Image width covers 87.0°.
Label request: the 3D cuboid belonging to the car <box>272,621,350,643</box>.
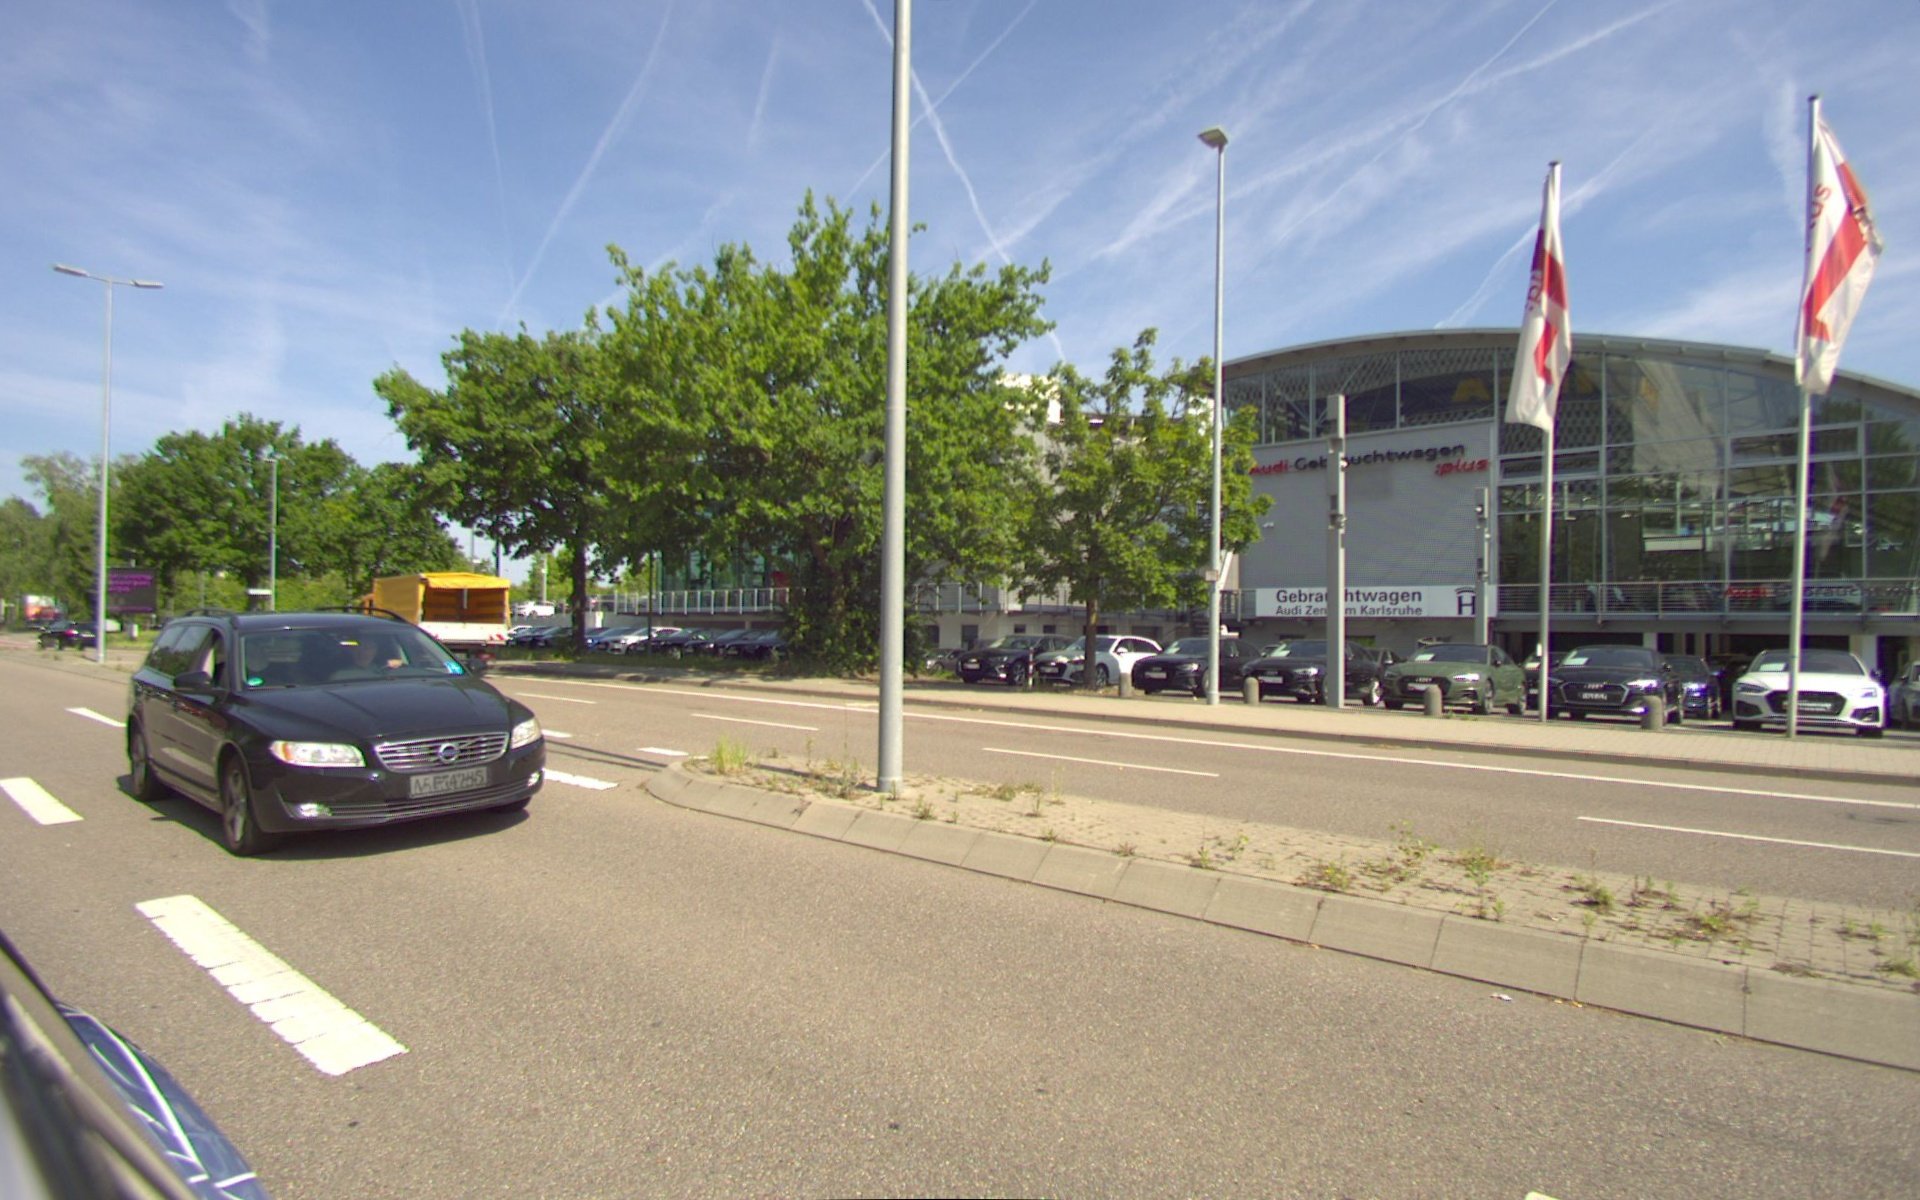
[{"bbox_3d":[-44.364,2.196,69.267,1.690,1.333,4.141,-1,-5,42],"label":"car"}]

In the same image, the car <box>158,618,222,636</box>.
[{"bbox_3d":[-66.894,2.373,87.978,1.690,1.389,4.141,-1,-5,42],"label":"car"}]

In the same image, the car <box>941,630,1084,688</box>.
[{"bbox_3d":[1.490,1.620,27.299,1.808,1.412,3.983,-1,-5,40],"label":"car"}]

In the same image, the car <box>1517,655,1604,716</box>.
[{"bbox_3d":[16.579,2.289,27.876,1.522,1.484,3.472,-1,-2,40],"label":"car"}]

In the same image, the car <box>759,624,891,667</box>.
[{"bbox_3d":[-4.427,1.543,33.636,1.796,1.236,4.141,-1,-5,42],"label":"car"}]

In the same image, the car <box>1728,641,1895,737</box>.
[{"bbox_3d":[13.820,1.428,16.460,1.867,1.329,3.945,-1,-5,41],"label":"car"}]

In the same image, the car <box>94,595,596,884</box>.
[{"bbox_3d":[-4.898,0.776,7.698,4.866,1.533,1.858,-1,0,41],"label":"car"}]

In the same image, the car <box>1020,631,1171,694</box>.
[{"bbox_3d":[3.494,1.601,25.464,1.801,1.405,4.172,-1,-5,40],"label":"car"}]

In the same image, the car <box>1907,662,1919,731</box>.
[{"bbox_3d":[22.579,2.191,22.719,1.659,1.484,3.472,-1,-2,39],"label":"car"}]

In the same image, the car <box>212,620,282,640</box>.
[{"bbox_3d":[-56.332,2.359,79.994,1.690,1.333,4.141,-1,-5,42],"label":"car"}]

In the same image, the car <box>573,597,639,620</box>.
[{"bbox_3d":[-25.671,0.650,73.500,1.690,1.416,4.141,-1,-5,42],"label":"car"}]

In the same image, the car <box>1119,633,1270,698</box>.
[{"bbox_3d":[5.576,1.556,23.735,1.833,1.365,4.069,-1,-5,39],"label":"car"}]

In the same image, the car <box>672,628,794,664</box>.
[{"bbox_3d":[-8.288,1.706,37.277,1.719,1.131,4.141,-1,-5,42],"label":"car"}]

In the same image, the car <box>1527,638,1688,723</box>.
[{"bbox_3d":[11.692,1.439,18.160,1.837,1.329,3.944,-1,-5,42],"label":"car"}]

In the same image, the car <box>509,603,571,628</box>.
[{"bbox_3d":[-33.430,1.256,80.629,1.690,1.745,4.141,-1,-5,42],"label":"car"}]

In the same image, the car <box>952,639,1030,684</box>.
[{"bbox_3d":[0.929,1.917,32.240,1.662,1.343,3.848,1,-2,-11],"label":"car"}]

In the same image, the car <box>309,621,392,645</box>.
[{"bbox_3d":[-38.433,2.103,63.893,1.690,1.333,4.141,-1,-5,42],"label":"car"}]

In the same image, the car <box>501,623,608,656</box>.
[{"bbox_3d":[-18.243,1.791,45.678,1.690,1.269,4.141,-1,-5,42],"label":"car"}]

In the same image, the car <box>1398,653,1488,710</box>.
[{"bbox_3d":[14.315,2.362,29.920,1.588,1.484,3.471,-1,-2,40],"label":"car"}]

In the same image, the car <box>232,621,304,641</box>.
[{"bbox_3d":[-52.311,2.361,76.558,1.690,1.333,4.141,-1,-5,42],"label":"car"}]

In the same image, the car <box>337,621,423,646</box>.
[{"bbox_3d":[-34.814,2.031,60.805,1.690,1.333,4.141,-1,-5,42],"label":"car"}]

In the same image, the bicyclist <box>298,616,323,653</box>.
[{"bbox_3d":[-26.121,1.384,40.704,1.143,1.494,0.564,-1,-2,44],"label":"bicyclist"}]

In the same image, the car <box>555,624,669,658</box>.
[{"bbox_3d":[-14.427,1.724,42.111,1.690,1.215,4.141,-1,-5,42],"label":"car"}]

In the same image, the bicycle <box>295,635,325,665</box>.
[{"bbox_3d":[-26.189,1.995,40.747,1.925,1.159,0.565,-1,-2,44],"label":"bicycle"}]

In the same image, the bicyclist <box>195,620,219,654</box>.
[{"bbox_3d":[-35.903,1.770,48.227,0.908,1.608,0.572,-1,-3,33],"label":"bicyclist"}]

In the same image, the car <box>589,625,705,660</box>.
[{"bbox_3d":[-12.505,1.702,40.584,1.690,1.204,4.141,-1,-5,42],"label":"car"}]

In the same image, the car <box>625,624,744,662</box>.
[{"bbox_3d":[-10.560,1.684,39.018,1.690,1.256,4.141,-1,-5,42],"label":"car"}]

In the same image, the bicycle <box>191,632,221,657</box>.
[{"bbox_3d":[-35.977,2.132,48.281,1.765,1.159,0.566,-1,-3,33],"label":"bicycle"}]

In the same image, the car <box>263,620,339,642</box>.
[{"bbox_3d":[-46.498,2.231,71.410,1.690,1.333,4.141,-1,-5,42],"label":"car"}]

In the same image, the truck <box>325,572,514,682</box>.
[{"bbox_3d":[-14.795,0.763,27.472,6.672,2.645,2.349,-1,-4,42],"label":"truck"}]

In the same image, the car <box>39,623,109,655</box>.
[{"bbox_3d":[-43.865,1.931,50.059,4.660,1.471,1.828,-1,-4,40],"label":"car"}]

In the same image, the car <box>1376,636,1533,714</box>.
[{"bbox_3d":[9.845,1.488,19.992,1.853,1.345,4.132,-1,-5,40],"label":"car"}]

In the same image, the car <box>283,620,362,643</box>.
[{"bbox_3d":[-42.509,2.098,67.545,1.690,1.333,4.141,-1,-5,42],"label":"car"}]

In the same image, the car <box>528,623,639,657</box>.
[{"bbox_3d":[-16.266,1.733,43.844,1.690,1.264,4.141,-1,-5,42],"label":"car"}]

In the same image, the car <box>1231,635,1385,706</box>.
[{"bbox_3d":[7.648,1.550,21.999,1.828,1.365,4.237,-1,-5,39],"label":"car"}]

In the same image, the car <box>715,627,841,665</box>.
[{"bbox_3d":[-6.303,1.636,35.360,1.695,1.143,4.141,-1,-5,42],"label":"car"}]

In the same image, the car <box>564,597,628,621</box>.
[{"bbox_3d":[-27.224,0.713,75.724,1.690,1.511,4.141,-1,-5,42],"label":"car"}]

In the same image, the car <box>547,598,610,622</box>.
[{"bbox_3d":[-29.219,0.782,77.592,1.690,1.511,4.141,-1,-5,42],"label":"car"}]

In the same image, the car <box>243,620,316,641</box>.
[{"bbox_3d":[-50.345,2.300,74.943,1.690,1.333,4.141,-1,-5,42],"label":"car"}]

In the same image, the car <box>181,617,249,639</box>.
[{"bbox_3d":[-60.987,2.301,82.913,1.690,1.511,4.141,-1,-5,42],"label":"car"}]
